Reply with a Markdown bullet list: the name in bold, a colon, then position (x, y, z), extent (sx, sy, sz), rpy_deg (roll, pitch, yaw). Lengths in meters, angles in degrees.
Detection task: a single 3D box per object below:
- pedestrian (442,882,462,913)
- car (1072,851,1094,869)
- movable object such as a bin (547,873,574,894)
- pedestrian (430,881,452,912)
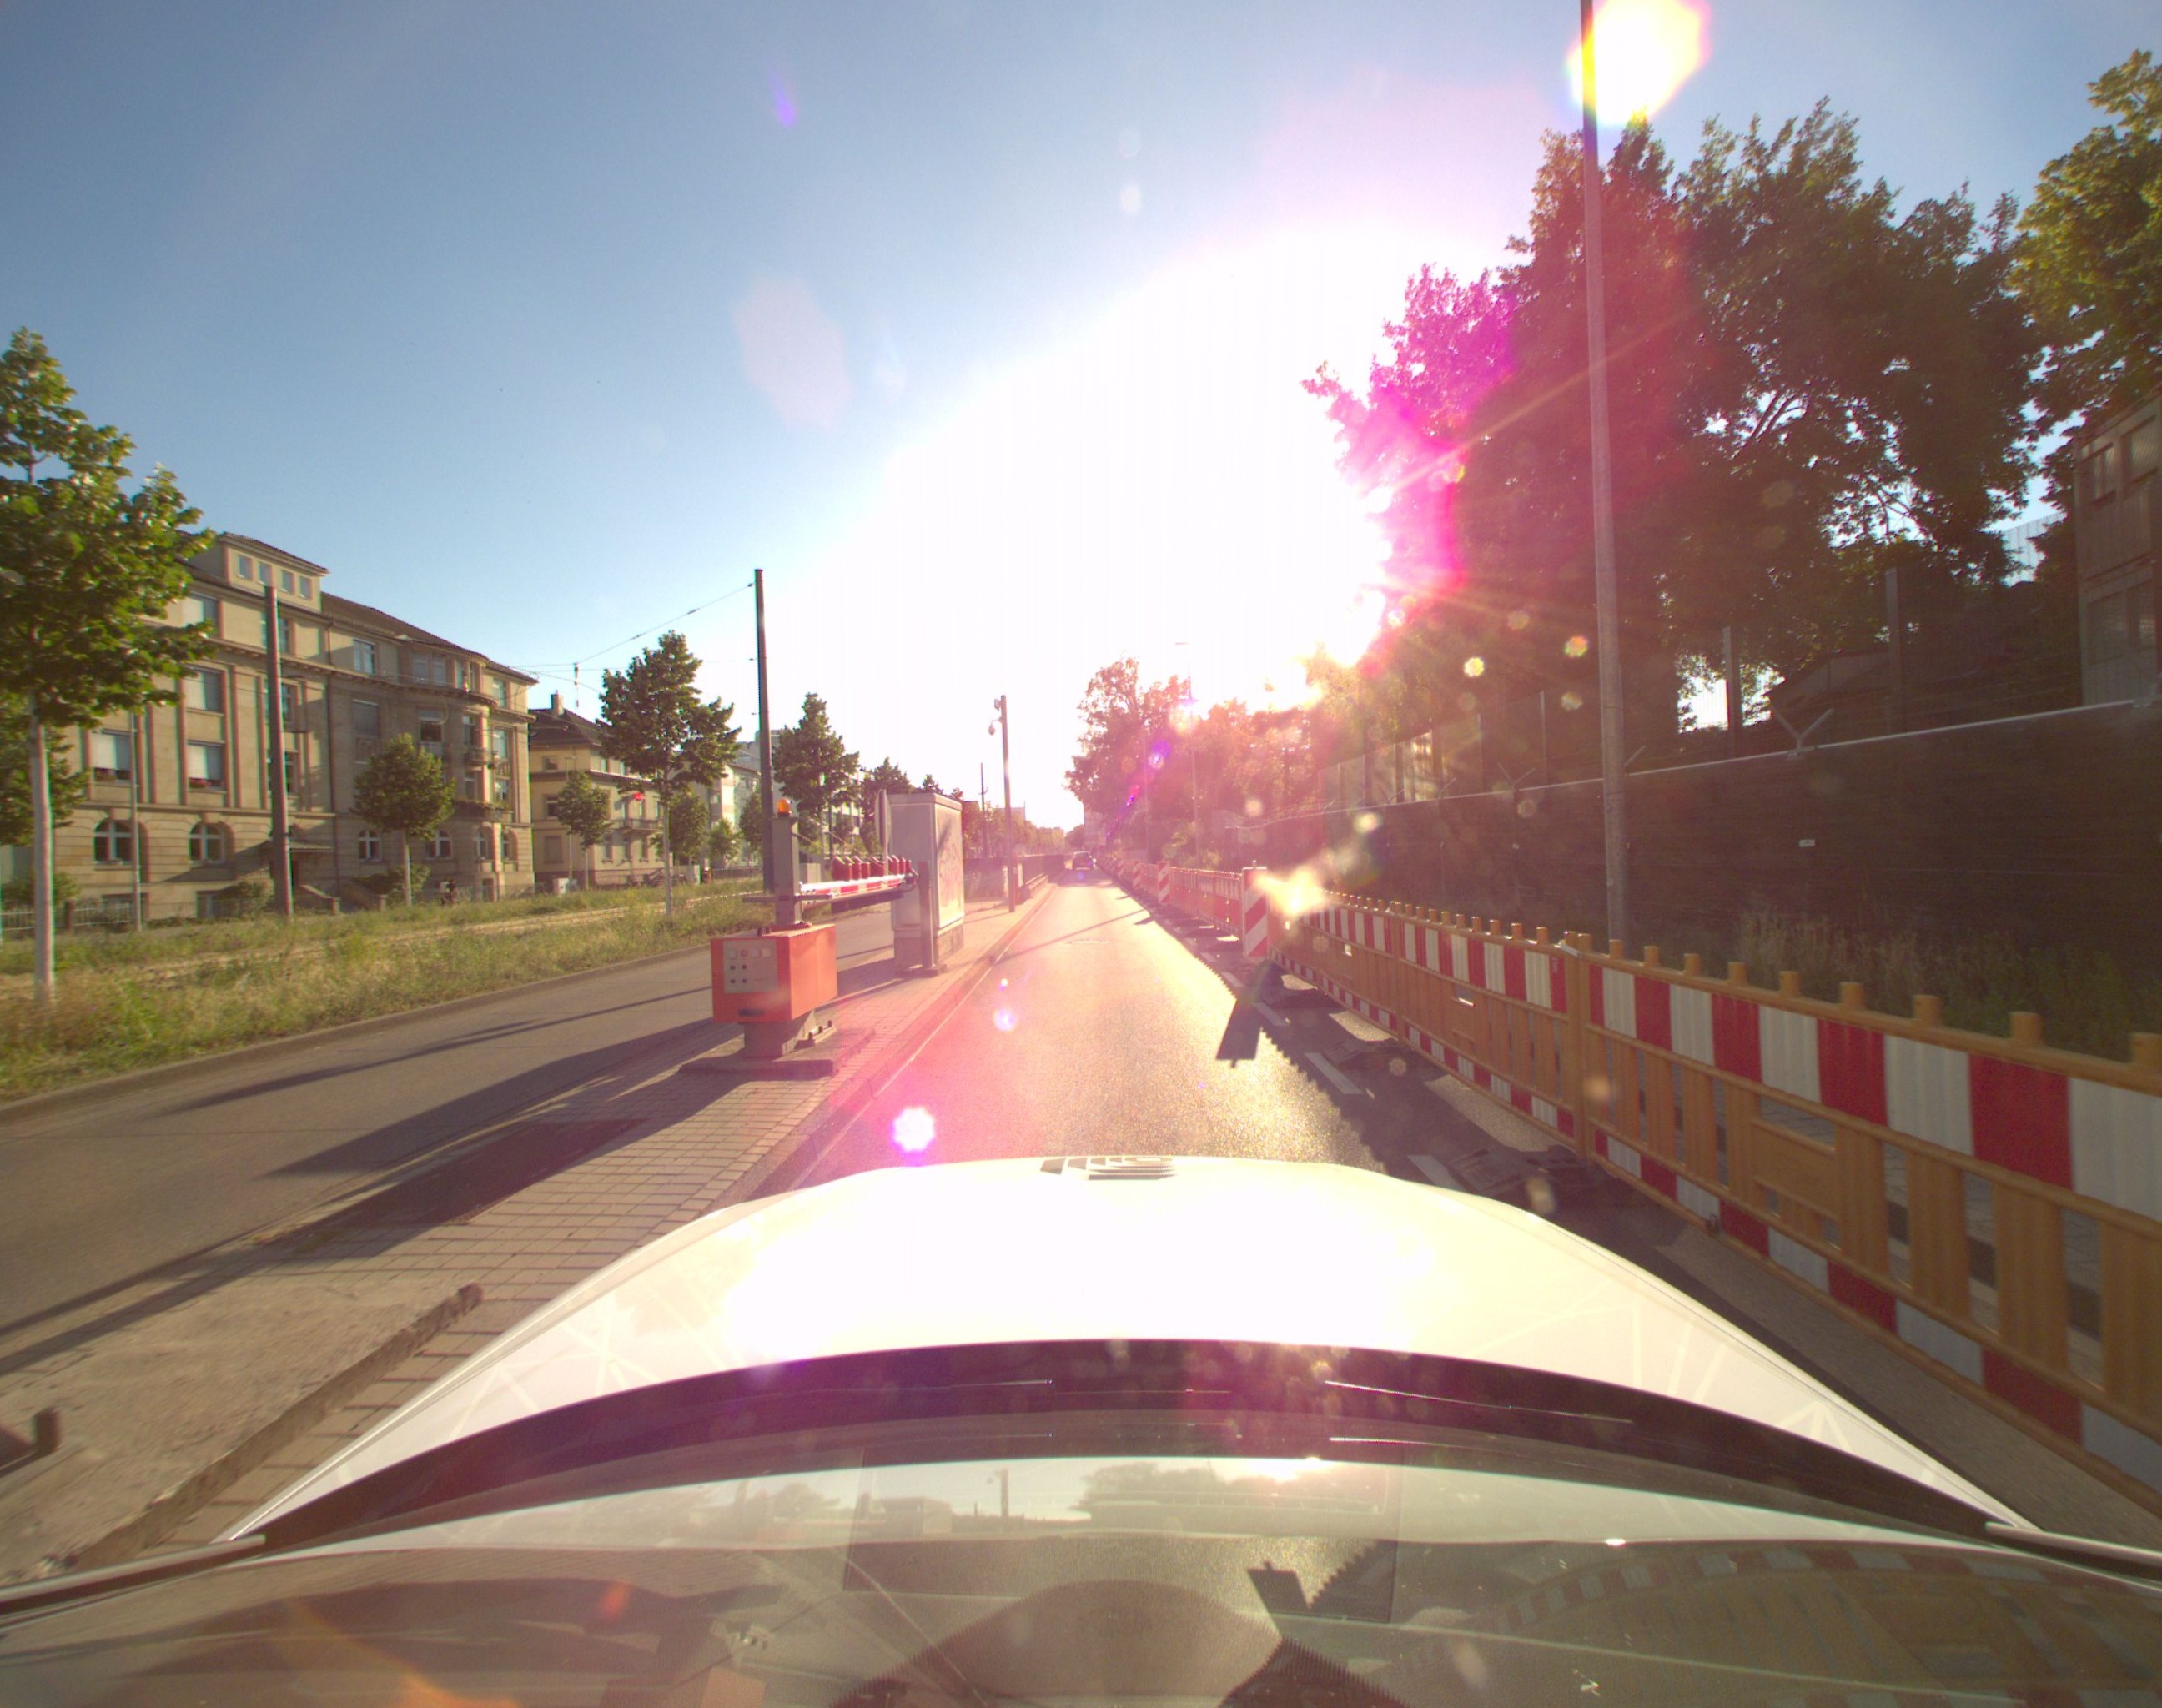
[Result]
- **pedestrian**: position (-36.040, 2.480, 46.652), extent (0.553, 1.720, 0.653), rpy_deg (-2, 0, 0)
- **car**: position (0.218, 0.583, 76.997), extent (1.998, 1.659, 4.000), rpy_deg (0, -1, 1)
- **movable object such as a bin**: position (-37.661, 2.095, 58.932), extent (1.201, 1.429, 1.080), rpy_deg (-2, 0, 0)
- **pedestrian**: position (-36.705, 2.448, 46.706), extent (0.654, 1.720, 0.653), rpy_deg (-2, 0, 0)
